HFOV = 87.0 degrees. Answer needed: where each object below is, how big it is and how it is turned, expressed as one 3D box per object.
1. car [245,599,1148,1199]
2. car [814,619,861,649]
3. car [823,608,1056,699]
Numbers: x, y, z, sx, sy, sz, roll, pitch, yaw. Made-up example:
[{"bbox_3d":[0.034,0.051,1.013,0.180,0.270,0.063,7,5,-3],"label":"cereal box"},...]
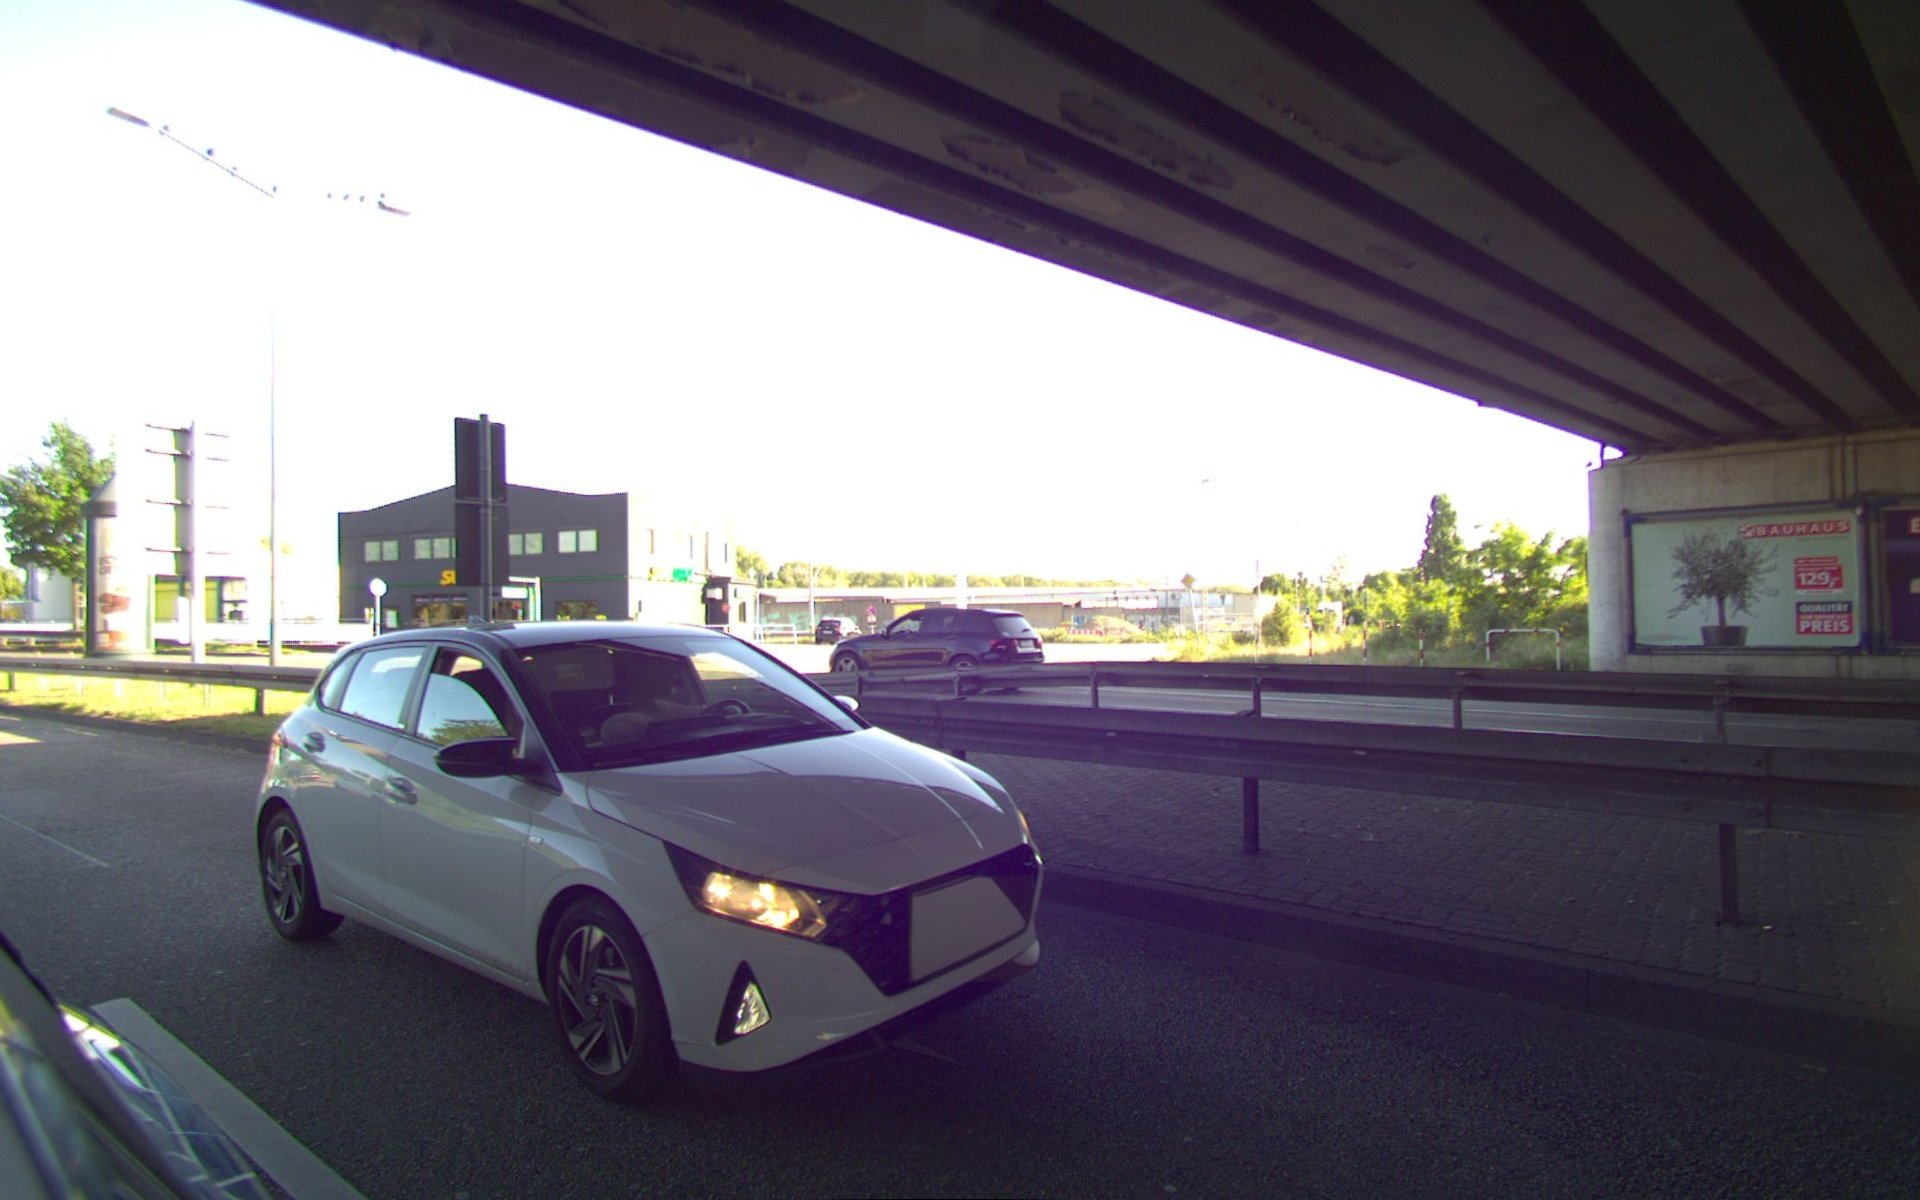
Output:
[{"bbox_3d":[-1.353,0.745,4.272,3.866,1.414,1.716,-2,-1,39],"label":"car"},{"bbox_3d":[-6.619,1.803,55.030,1.858,1.453,3.996,-1,0,3],"label":"car"},{"bbox_3d":[-0.450,0.997,20.039,4.349,1.629,1.837,-1,-2,32],"label":"car"}]
